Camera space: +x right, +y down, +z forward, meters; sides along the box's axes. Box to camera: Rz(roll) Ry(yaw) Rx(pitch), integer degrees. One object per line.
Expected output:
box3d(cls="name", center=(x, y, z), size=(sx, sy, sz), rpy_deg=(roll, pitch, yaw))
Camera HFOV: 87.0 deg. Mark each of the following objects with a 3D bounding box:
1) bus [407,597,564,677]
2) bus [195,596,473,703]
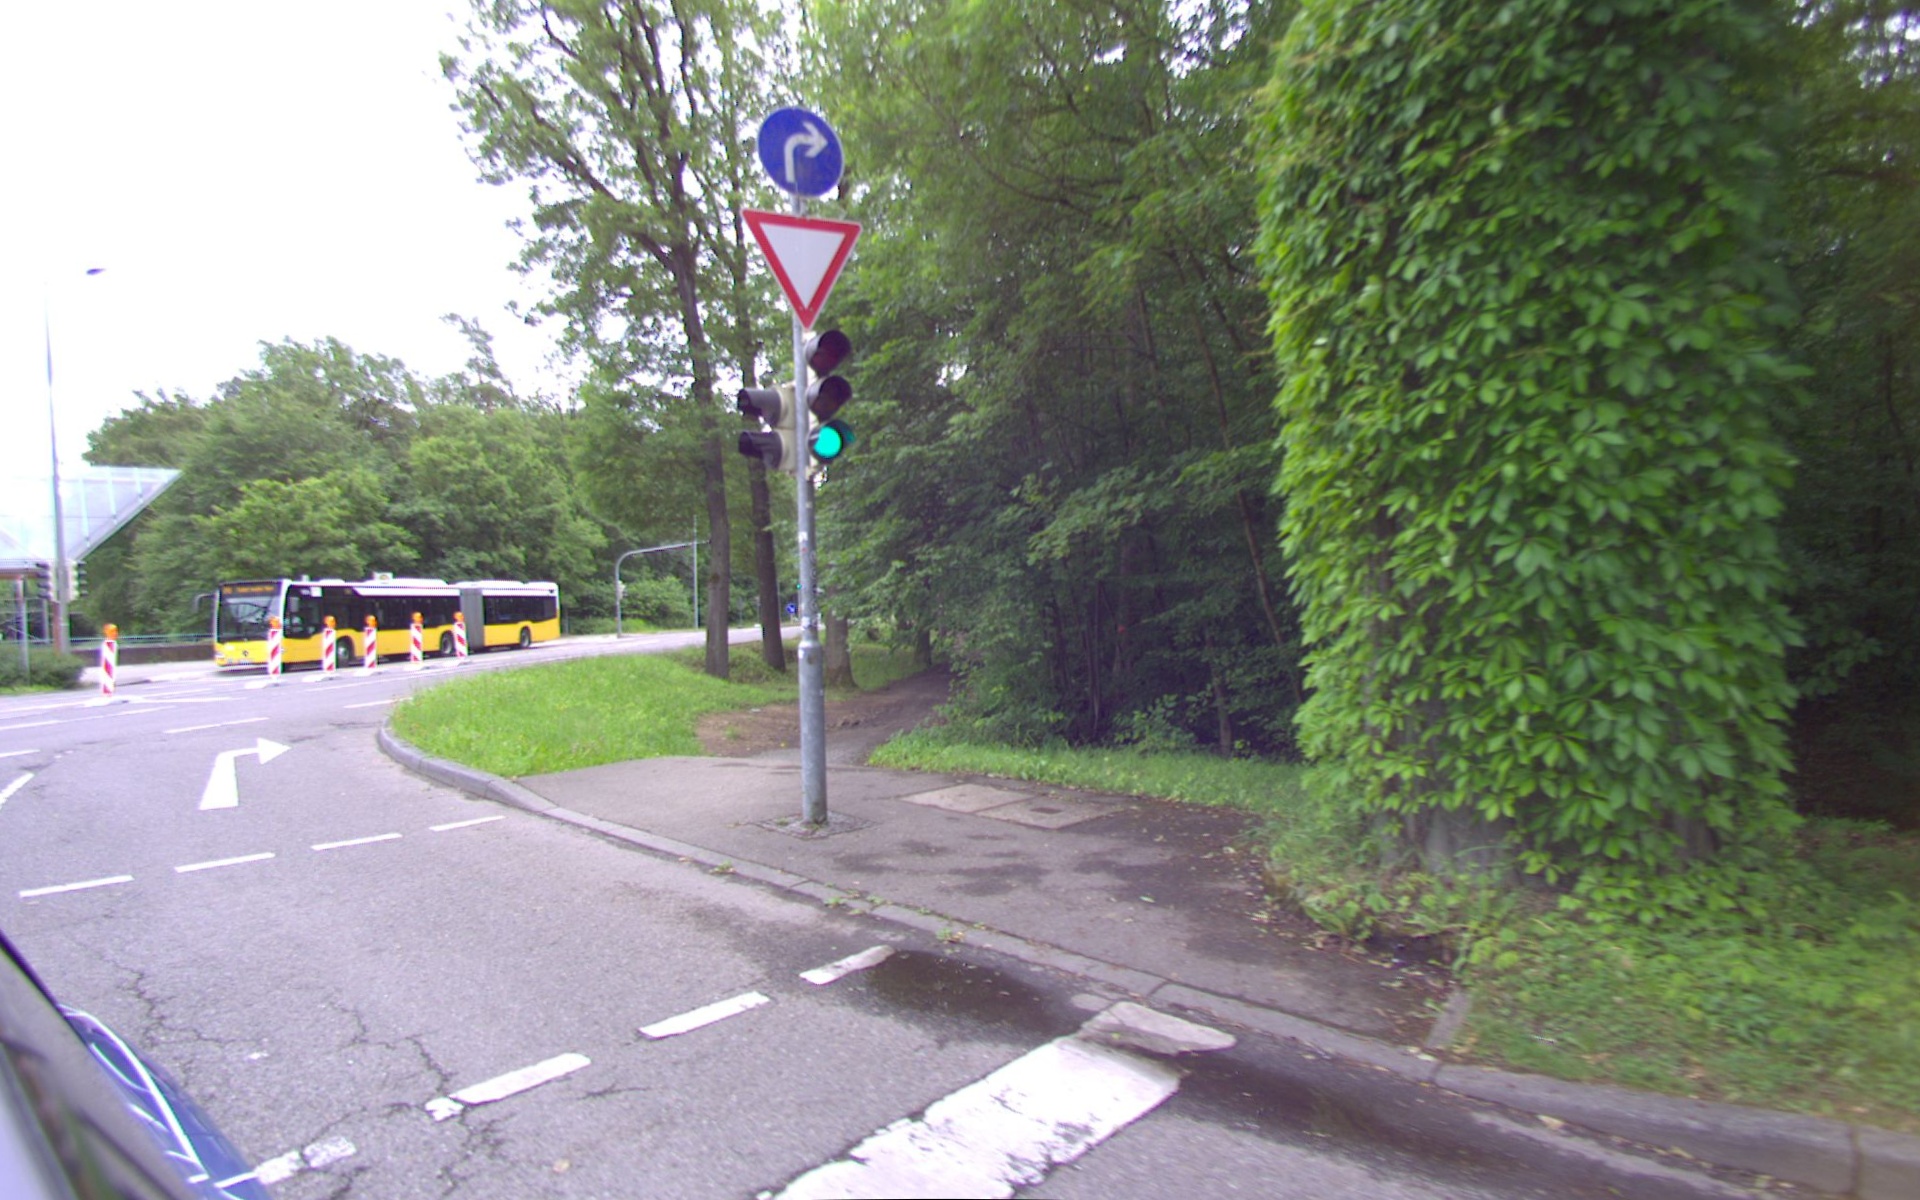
box3d(cls="bus", center=(-21.282, 1.572, 45.994), size=(2.778, 3.183, 7.742), rpy_deg=(-4, -1, 6))
box3d(cls="bus", center=(-22.132, 1.597, 36.896), size=(2.777, 3.183, 10.501), rpy_deg=(-4, -1, 5))
